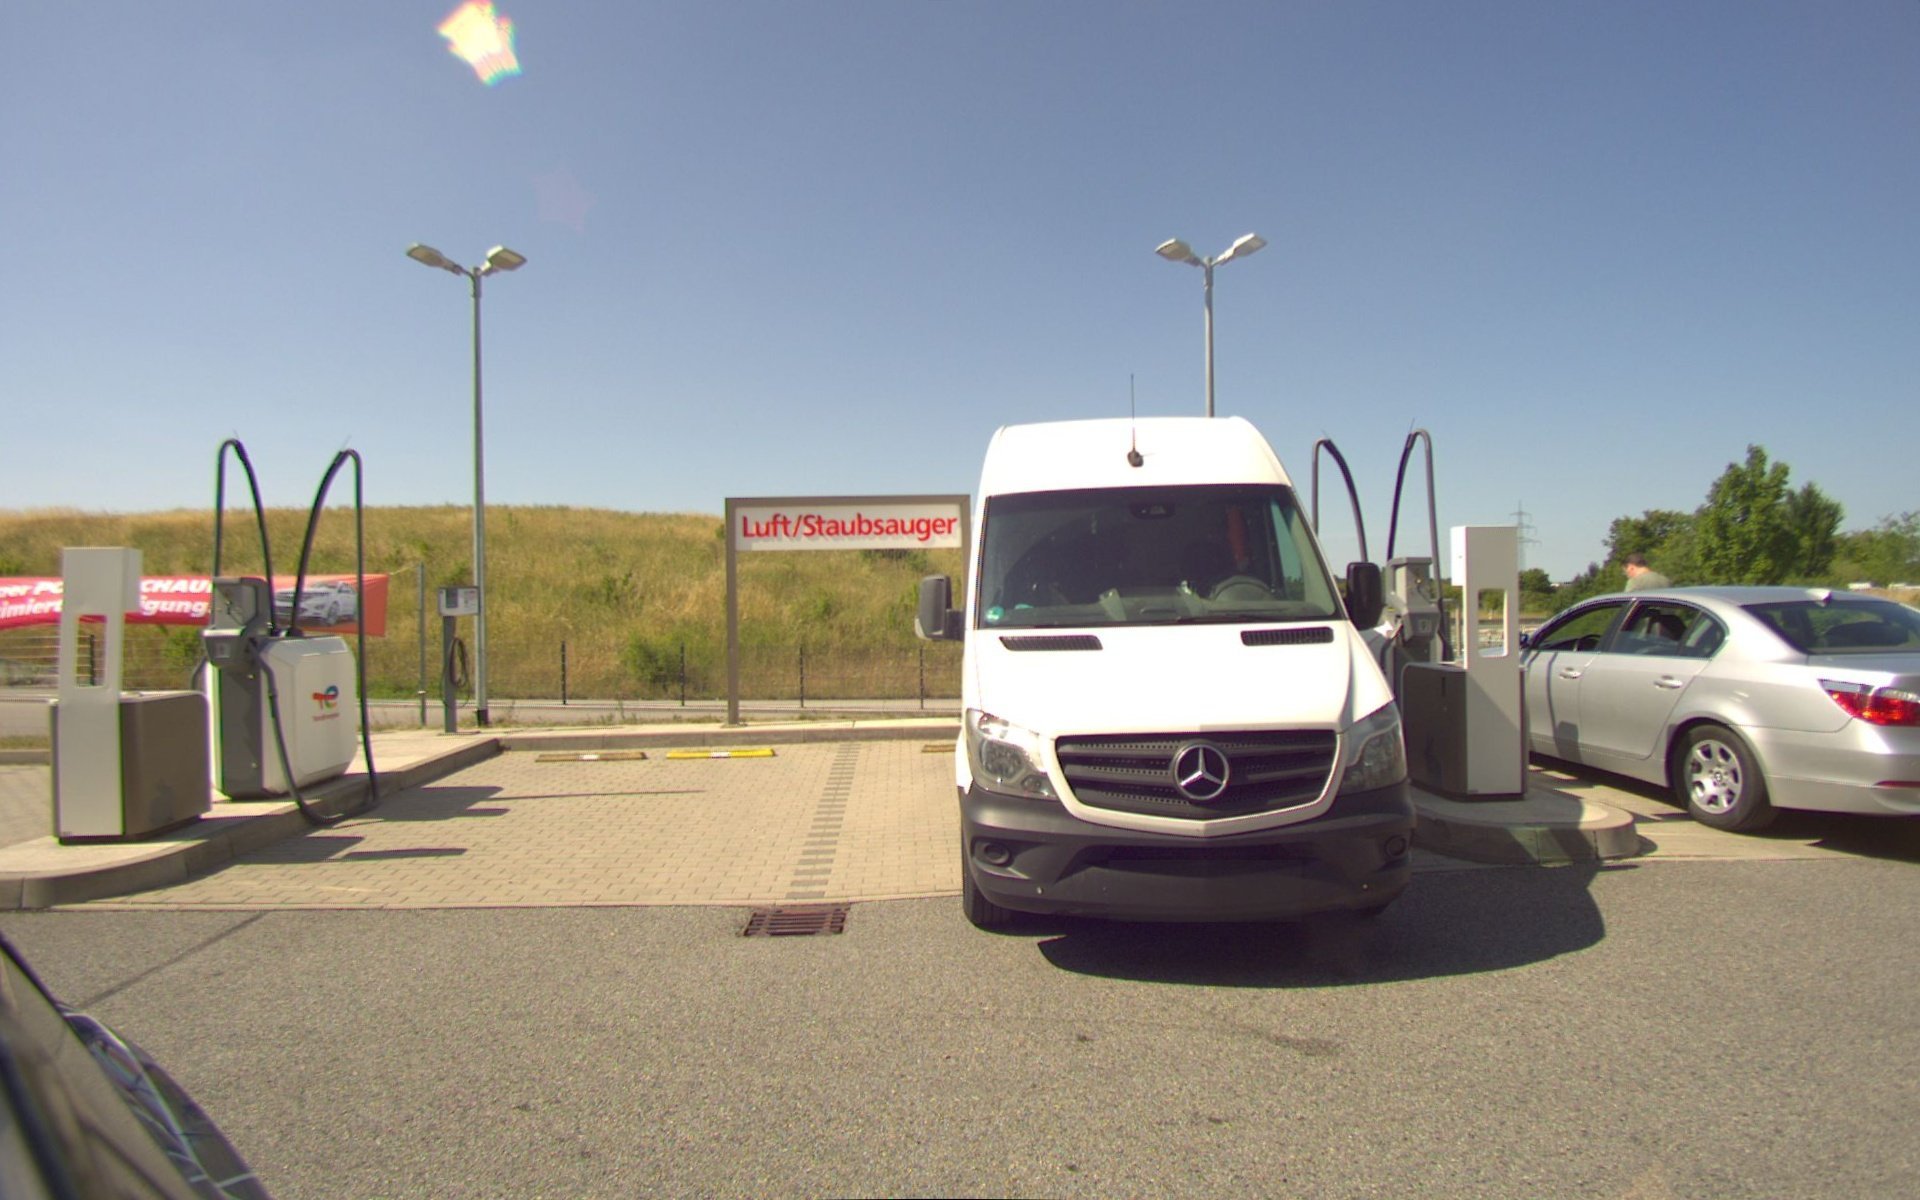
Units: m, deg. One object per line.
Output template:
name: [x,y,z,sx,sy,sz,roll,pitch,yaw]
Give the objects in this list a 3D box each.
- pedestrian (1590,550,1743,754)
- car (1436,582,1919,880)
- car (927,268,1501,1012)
pedestrian: [6.433,0.452,9.253,0.697,1.762,0.847,-1,-1,-14]
car: [5.341,0.624,7.089,1.767,1.439,4.324,-1,0,-3]
car: [1.038,0.098,7.089,1.973,2.590,7.026,-1,1,3]
